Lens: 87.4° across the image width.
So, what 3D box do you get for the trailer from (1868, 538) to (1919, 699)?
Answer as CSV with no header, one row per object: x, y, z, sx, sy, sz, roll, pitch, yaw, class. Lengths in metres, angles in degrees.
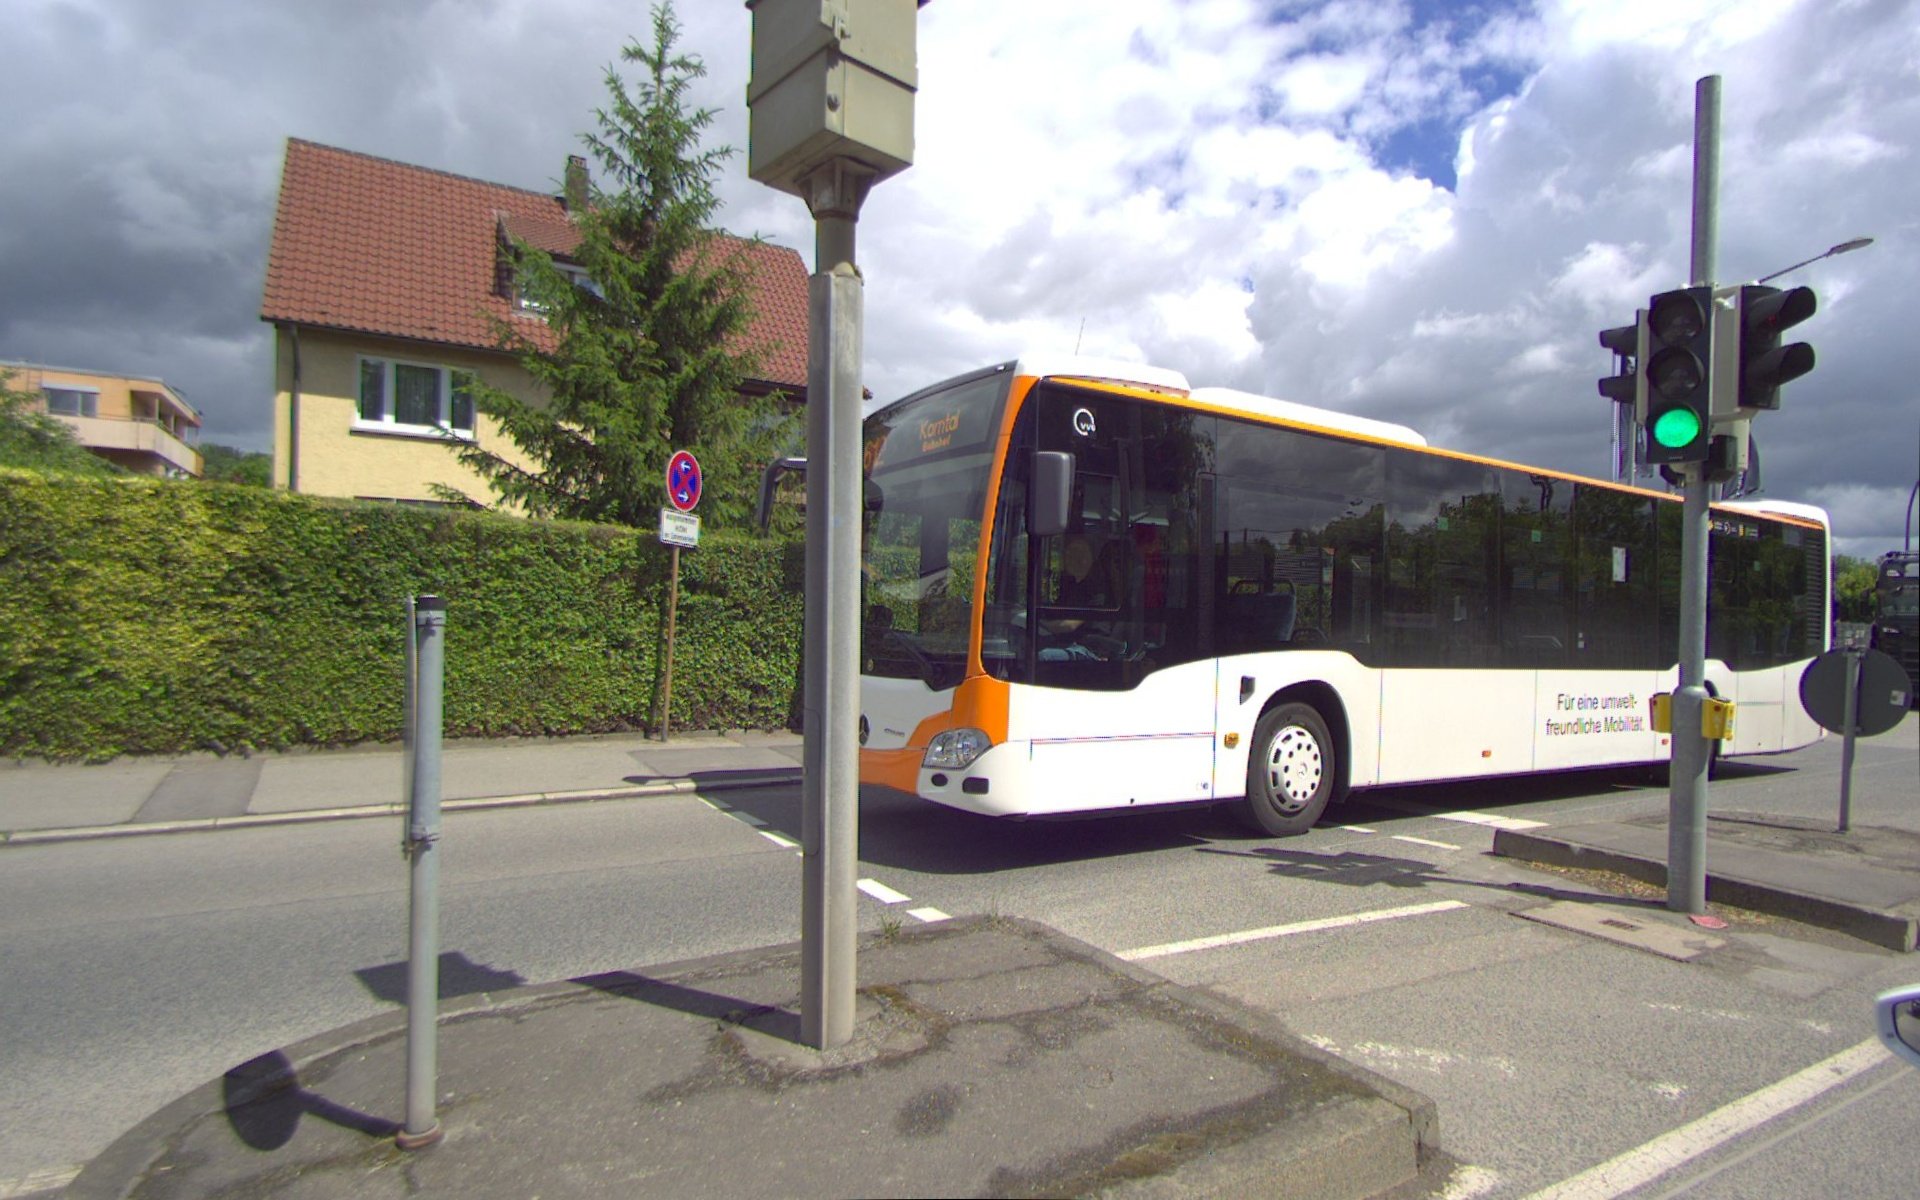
30.888,0.757,30.115,15.418,4.106,2.777,3,0,-38,trailer

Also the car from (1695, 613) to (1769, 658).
25.905,1.196,33.694,2.656,1.382,1.039,2,0,-31,car

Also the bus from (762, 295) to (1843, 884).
4.394,0.186,9.610,12.129,3.070,2.704,3,-2,-32,bus

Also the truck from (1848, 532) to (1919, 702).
25.752,0.519,26.128,6.443,4.107,2.778,3,0,-38,truck
